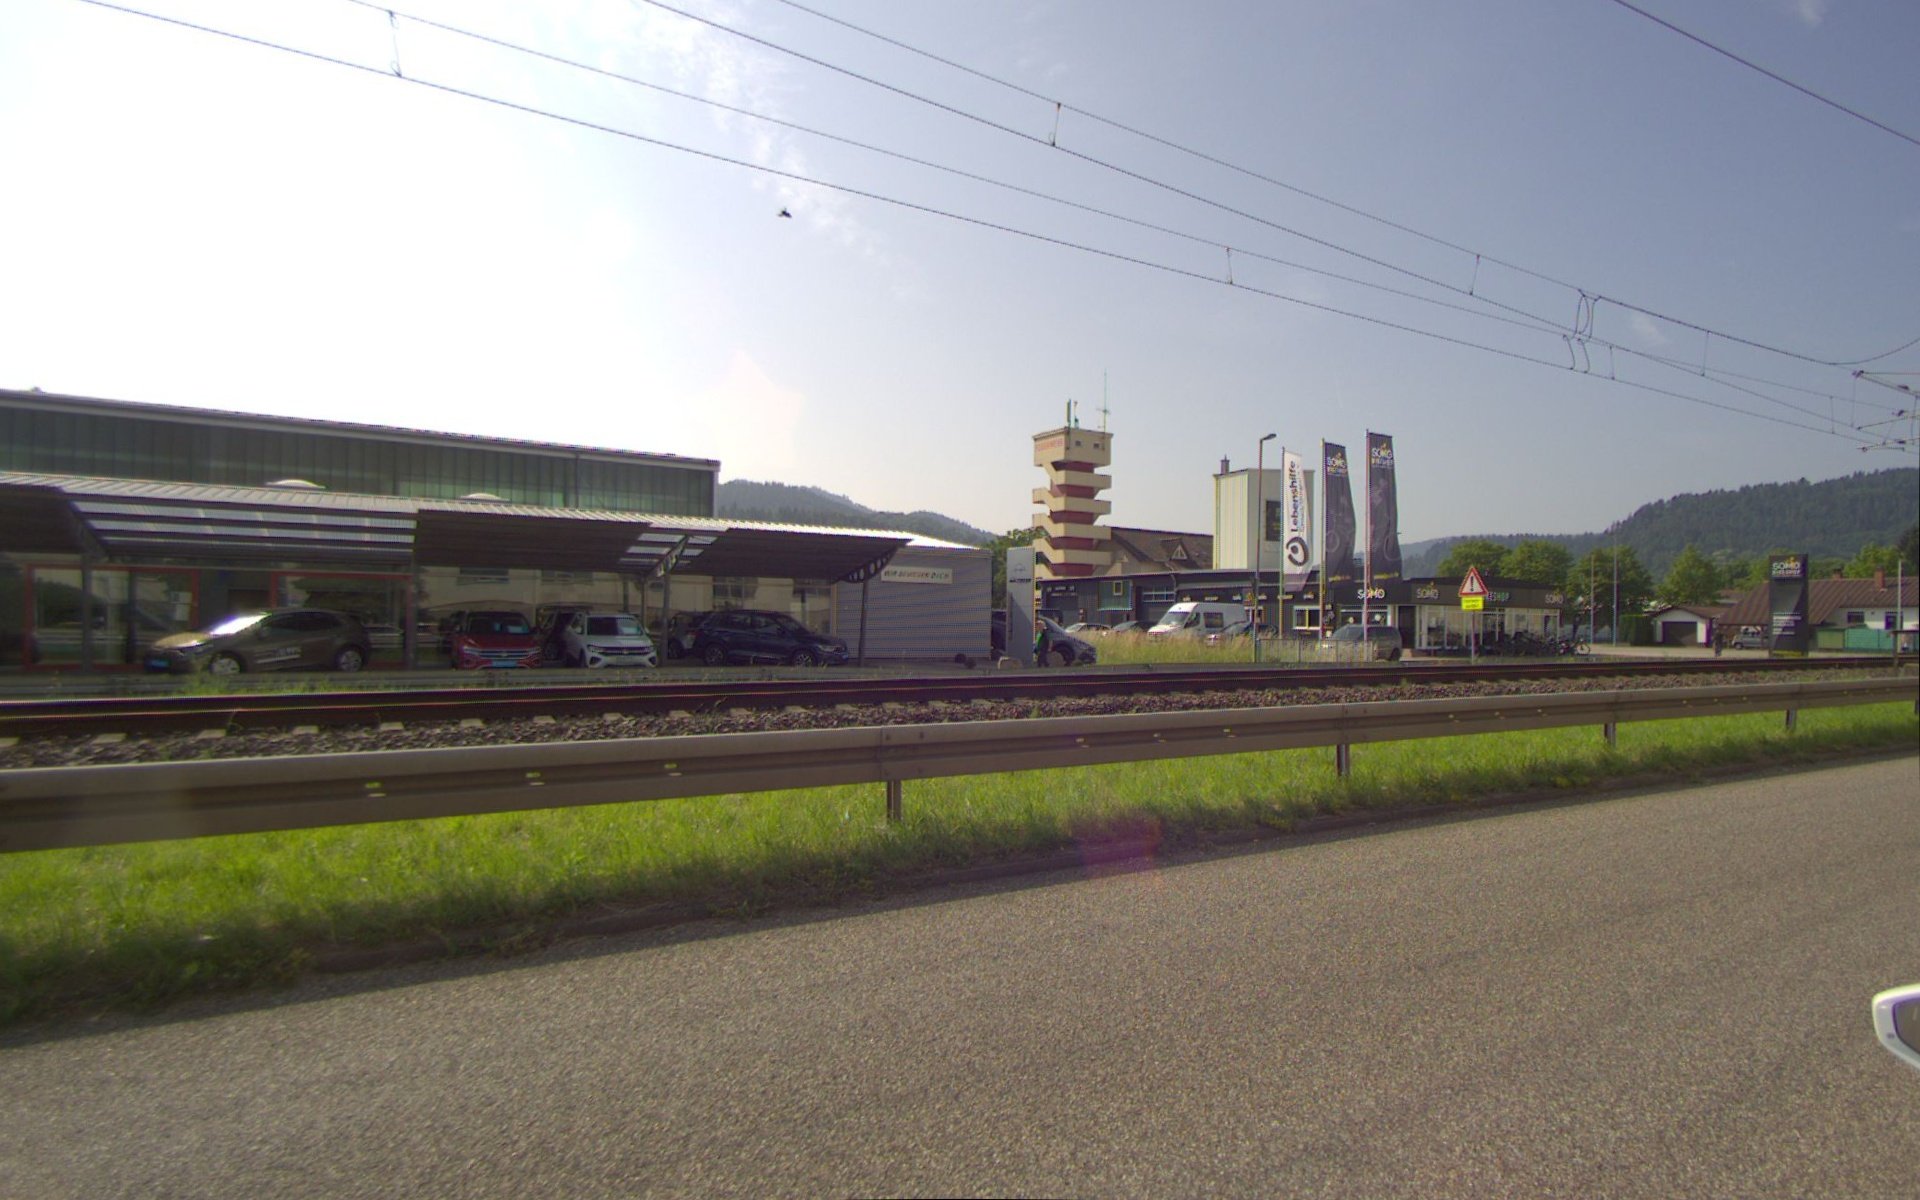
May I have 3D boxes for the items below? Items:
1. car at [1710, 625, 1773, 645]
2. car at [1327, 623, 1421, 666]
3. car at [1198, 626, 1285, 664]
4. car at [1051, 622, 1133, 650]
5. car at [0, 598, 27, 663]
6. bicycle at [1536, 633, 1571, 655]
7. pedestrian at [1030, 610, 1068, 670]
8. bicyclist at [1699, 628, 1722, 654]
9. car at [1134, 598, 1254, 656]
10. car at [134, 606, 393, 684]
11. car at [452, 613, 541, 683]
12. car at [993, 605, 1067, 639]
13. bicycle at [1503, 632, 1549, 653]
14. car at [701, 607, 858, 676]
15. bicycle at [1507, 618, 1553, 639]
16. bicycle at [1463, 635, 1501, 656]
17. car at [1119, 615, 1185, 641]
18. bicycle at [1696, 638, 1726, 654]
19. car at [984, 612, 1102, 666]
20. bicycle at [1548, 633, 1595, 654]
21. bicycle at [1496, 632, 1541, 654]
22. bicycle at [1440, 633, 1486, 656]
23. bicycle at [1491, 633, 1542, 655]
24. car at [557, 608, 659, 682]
[{"bbox_3d":[65.480,2.902,84.232,1.690,1.673,3.823,1,-2,-26],"label":"car"},{"bbox_3d":[17.812,1.899,43.143,4.324,1.711,1.510,2,0,-33],"label":"car"},{"bbox_3d":[13.549,2.175,48.338,3.957,1.685,1.857,3,-2,-33],"label":"car"},{"bbox_3d":[8.024,2.193,60.851,4.705,1.664,1.985,2,-2,-29],"label":"car"},{"bbox_3d":[-23.762,0.711,23.646,1.888,1.525,4.139,1,-1,-33],"label":"car"},{"bbox_3d":[32.259,2.385,54.560,2.149,1.145,0.724,2,-2,-31],"label":"bicycle"},{"bbox_3d":[2.641,1.191,29.852,0.826,1.757,0.798,1,-1,-32],"label":"pedestrian"},{"bbox_3d":[49.078,2.673,65.688,1.130,1.641,0.743,1,-1,-26],"label":"bicyclist"},{"bbox_3d":[11.976,1.428,51.309,6.093,2.667,2.360,3,-3,-32],"label":"car"},{"bbox_3d":[-15.142,0.928,22.170,1.811,1.525,4.434,0,-1,21],"label":"car"},{"bbox_3d":[-11.241,1.101,24.252,1.485,1.343,3.934,1,2,-32],"label":"car"},{"bbox_3d":[4.812,1.539,68.832,4.705,2.241,1.985,2,-2,-29],"label":"car"},{"bbox_3d":[31.646,2.374,56.181,0.724,1.145,2.150,2,-2,-38],"label":"bicycle"},{"bbox_3d":[-5.032,1.127,28.148,3.950,1.644,1.664,2,1,12],"label":"car"},{"bbox_3d":[32.214,1.601,56.792,0.724,1.145,2.150,2,-2,-38],"label":"bicycle"},{"bbox_3d":[28.323,2.469,54.510,2.147,1.145,0.725,2,-2,-28],"label":"bicycle"},{"bbox_3d":[10.734,1.558,56.110,3.478,1.375,1.508,2,-2,-29],"label":"car"},{"bbox_3d":[49.118,2.997,65.704,1.936,1.030,0.752,1,-2,-26],"label":"bicycle"},{"bbox_3d":[3.022,1.393,36.580,3.925,1.550,1.522,5,1,25],"label":"car"},{"bbox_3d":[34.538,2.436,56.762,0.724,1.145,2.150,2,-2,-38],"label":"bicycle"},{"bbox_3d":[30.854,2.369,55.536,0.721,1.145,2.158,1,-2,-29],"label":"bicycle"},{"bbox_3d":[26.468,2.321,52.874,0.721,1.145,2.158,1,-2,-29],"label":"bicycle"},{"bbox_3d":[29.398,2.326,53.068,2.275,1.145,0.730,1,-1,5],"label":"bicycle"},{"bbox_3d":[-9.031,1.079,25.606,1.645,1.548,3.934,1,2,-32],"label":"car"}]
